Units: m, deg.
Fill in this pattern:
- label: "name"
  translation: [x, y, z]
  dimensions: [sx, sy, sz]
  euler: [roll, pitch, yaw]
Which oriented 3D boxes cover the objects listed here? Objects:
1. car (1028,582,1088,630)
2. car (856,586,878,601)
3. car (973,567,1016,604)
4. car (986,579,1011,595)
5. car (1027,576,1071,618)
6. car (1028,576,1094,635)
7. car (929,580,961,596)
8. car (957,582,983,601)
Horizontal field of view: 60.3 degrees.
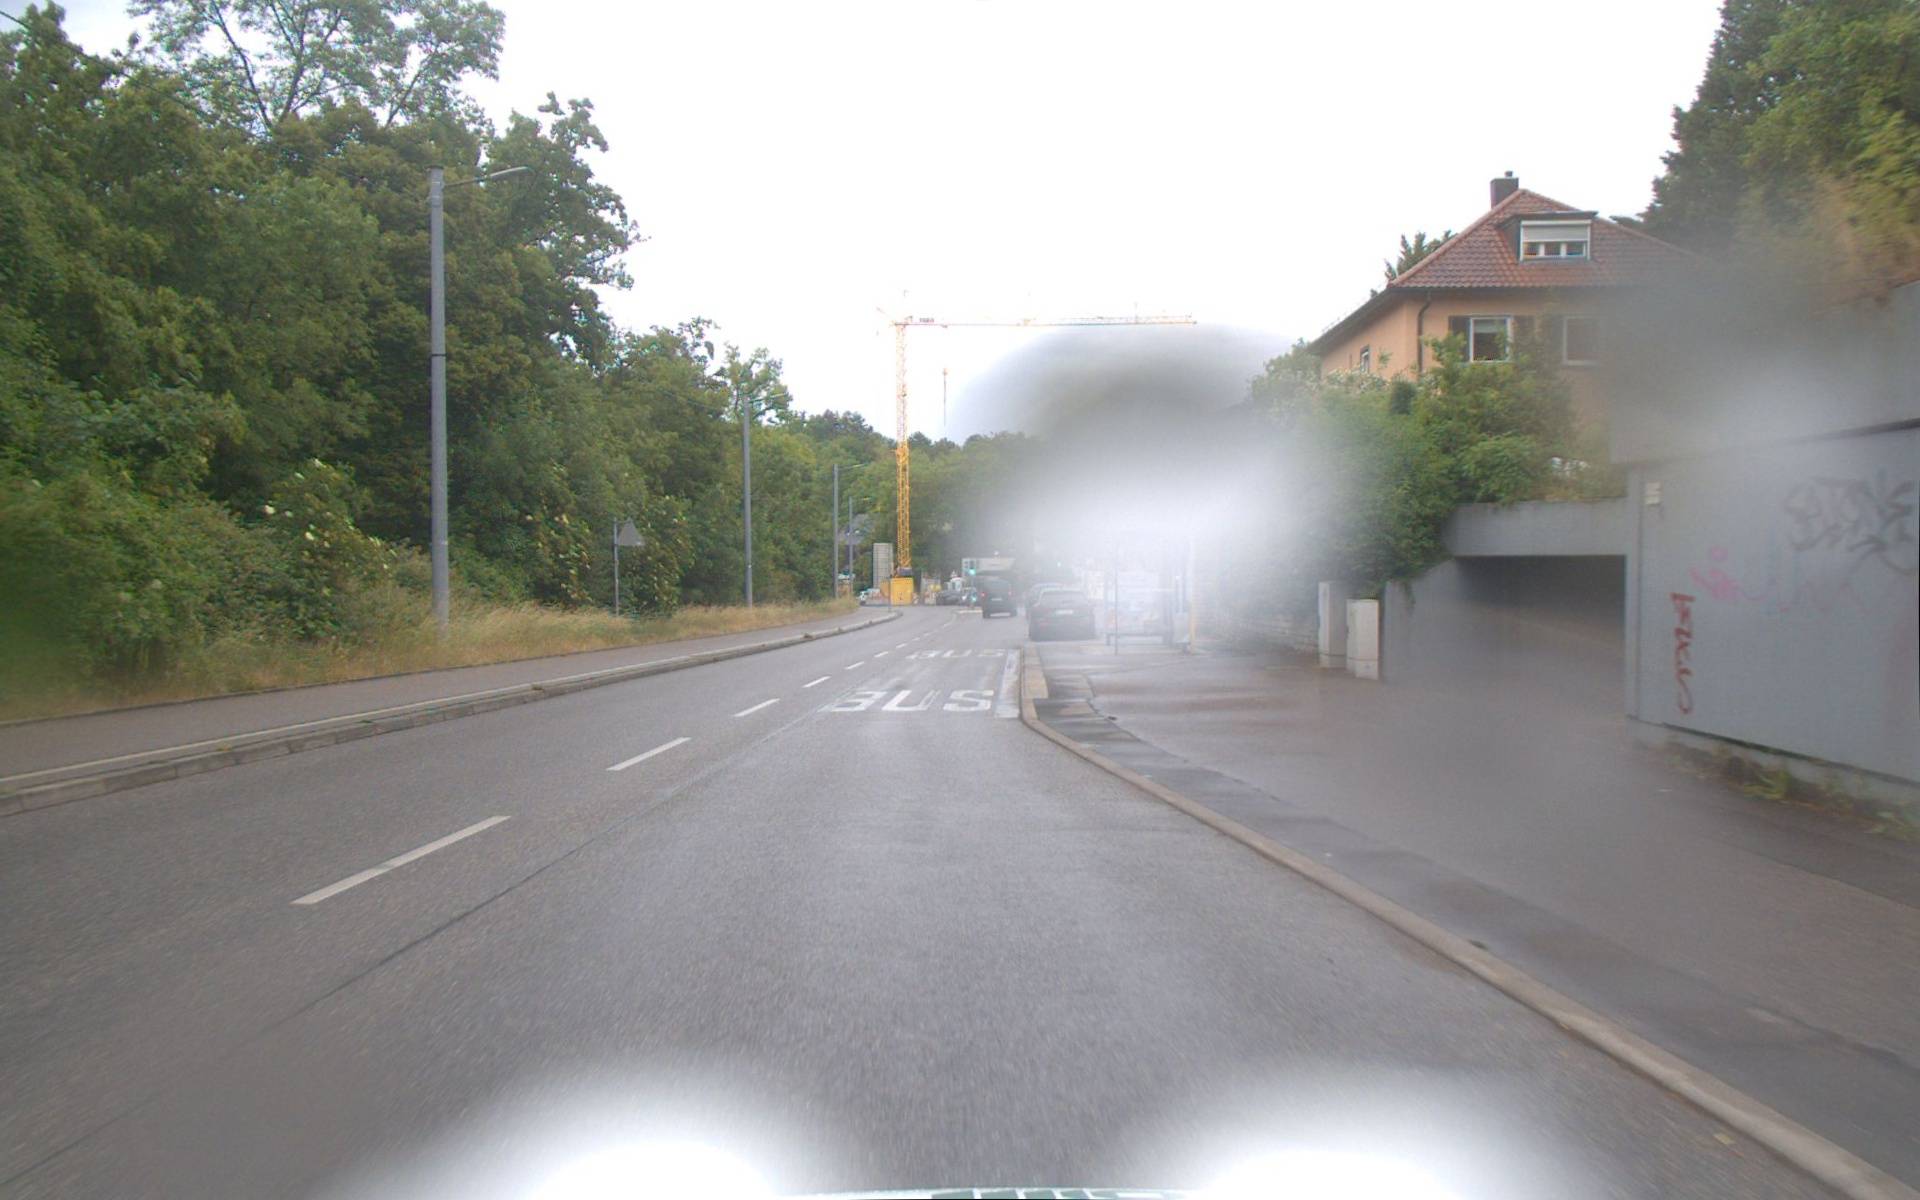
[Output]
- label: "car"
  translation: [3.139, 0.199, 52.672]
  dimensions: [1.775, 1.422, 4.104]
  euler: [-2, 0, 4]
- label: "car"
  translation: [-10.991, -0.754, 195.161]
  dimensions: [1.716, 1.735, 4.484]
  euler: [-4, 1, -14]
- label: "car"
  translation: [1.742, -0.715, 84.613]
  dimensions: [1.893, 1.782, 3.997]
  euler: [1, 0, -3]
- label: "car"
  translation: [3.628, -1.205, 157.101]
  dimensions: [1.664, 1.498, 3.991]
  euler: [1, 0, -9]
- label: "car"
  translation: [3.692, -0.141, 68.979]
  dimensions: [1.694, 1.595, 4.523]
  euler: [-2, 1, 2]
- label: "car"
  translation: [2.940, 0.168, 47.877]
  dimensions: [1.791, 1.574, 4.632]
  euler: [-2, 0, 4]
- label: "car"
  translation: [-1.413, -1.083, 153.392]
  dimensions: [1.899, 1.447, 4.821]
  euler: [0, 1, -13]
- label: "car"
  translation: [0.810, -0.699, 139.731]
  dimensions: [1.642, 1.482, 3.379]
  euler: [-3, 0, -9]
